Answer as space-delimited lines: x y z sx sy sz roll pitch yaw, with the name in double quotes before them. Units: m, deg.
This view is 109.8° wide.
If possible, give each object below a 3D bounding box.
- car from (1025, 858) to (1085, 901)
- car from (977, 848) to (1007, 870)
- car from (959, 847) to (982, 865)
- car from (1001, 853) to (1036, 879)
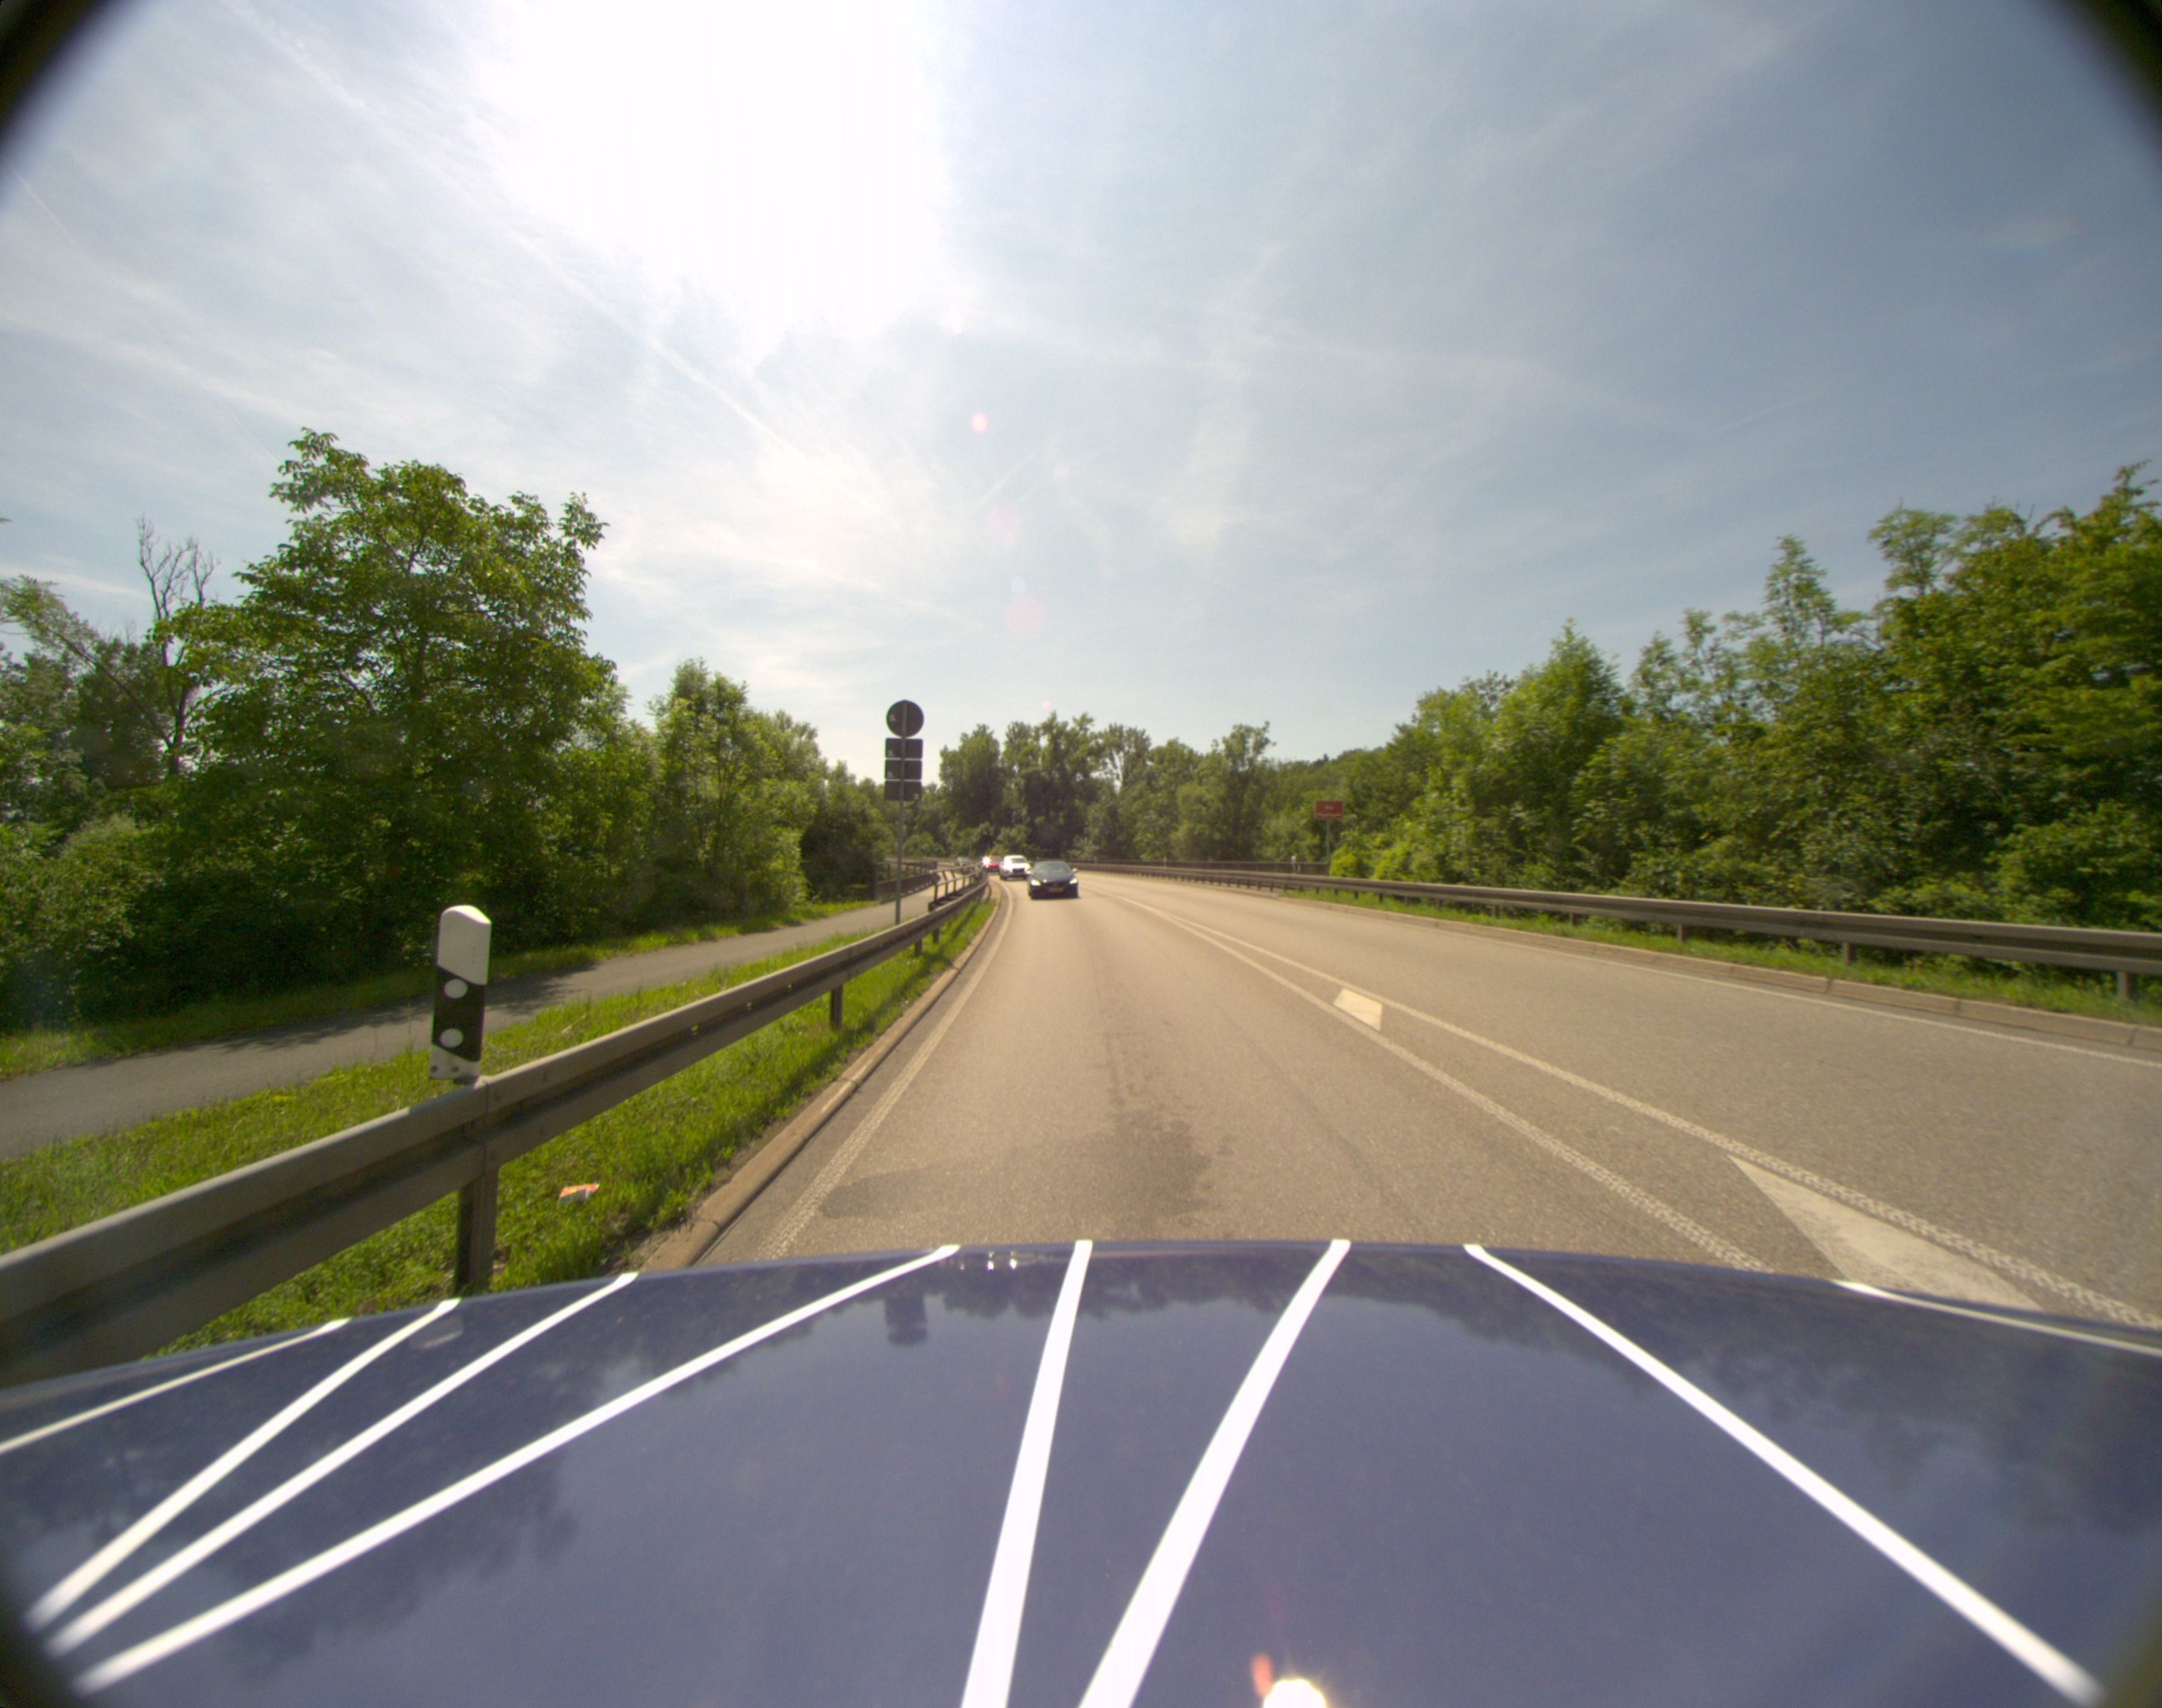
"car" -1.099 0.929 29.492 1.910 1.413 3.947 -2 1 -7
"car" -7.875 0.471 66.870 2.001 1.765 3.995 -3 0 -14
"car" -13.101 0.162 89.846 2.001 2.002 3.994 -3 2 -16
"car" -4.305 0.793 51.758 1.911 1.638 3.947 -3 0 -11
